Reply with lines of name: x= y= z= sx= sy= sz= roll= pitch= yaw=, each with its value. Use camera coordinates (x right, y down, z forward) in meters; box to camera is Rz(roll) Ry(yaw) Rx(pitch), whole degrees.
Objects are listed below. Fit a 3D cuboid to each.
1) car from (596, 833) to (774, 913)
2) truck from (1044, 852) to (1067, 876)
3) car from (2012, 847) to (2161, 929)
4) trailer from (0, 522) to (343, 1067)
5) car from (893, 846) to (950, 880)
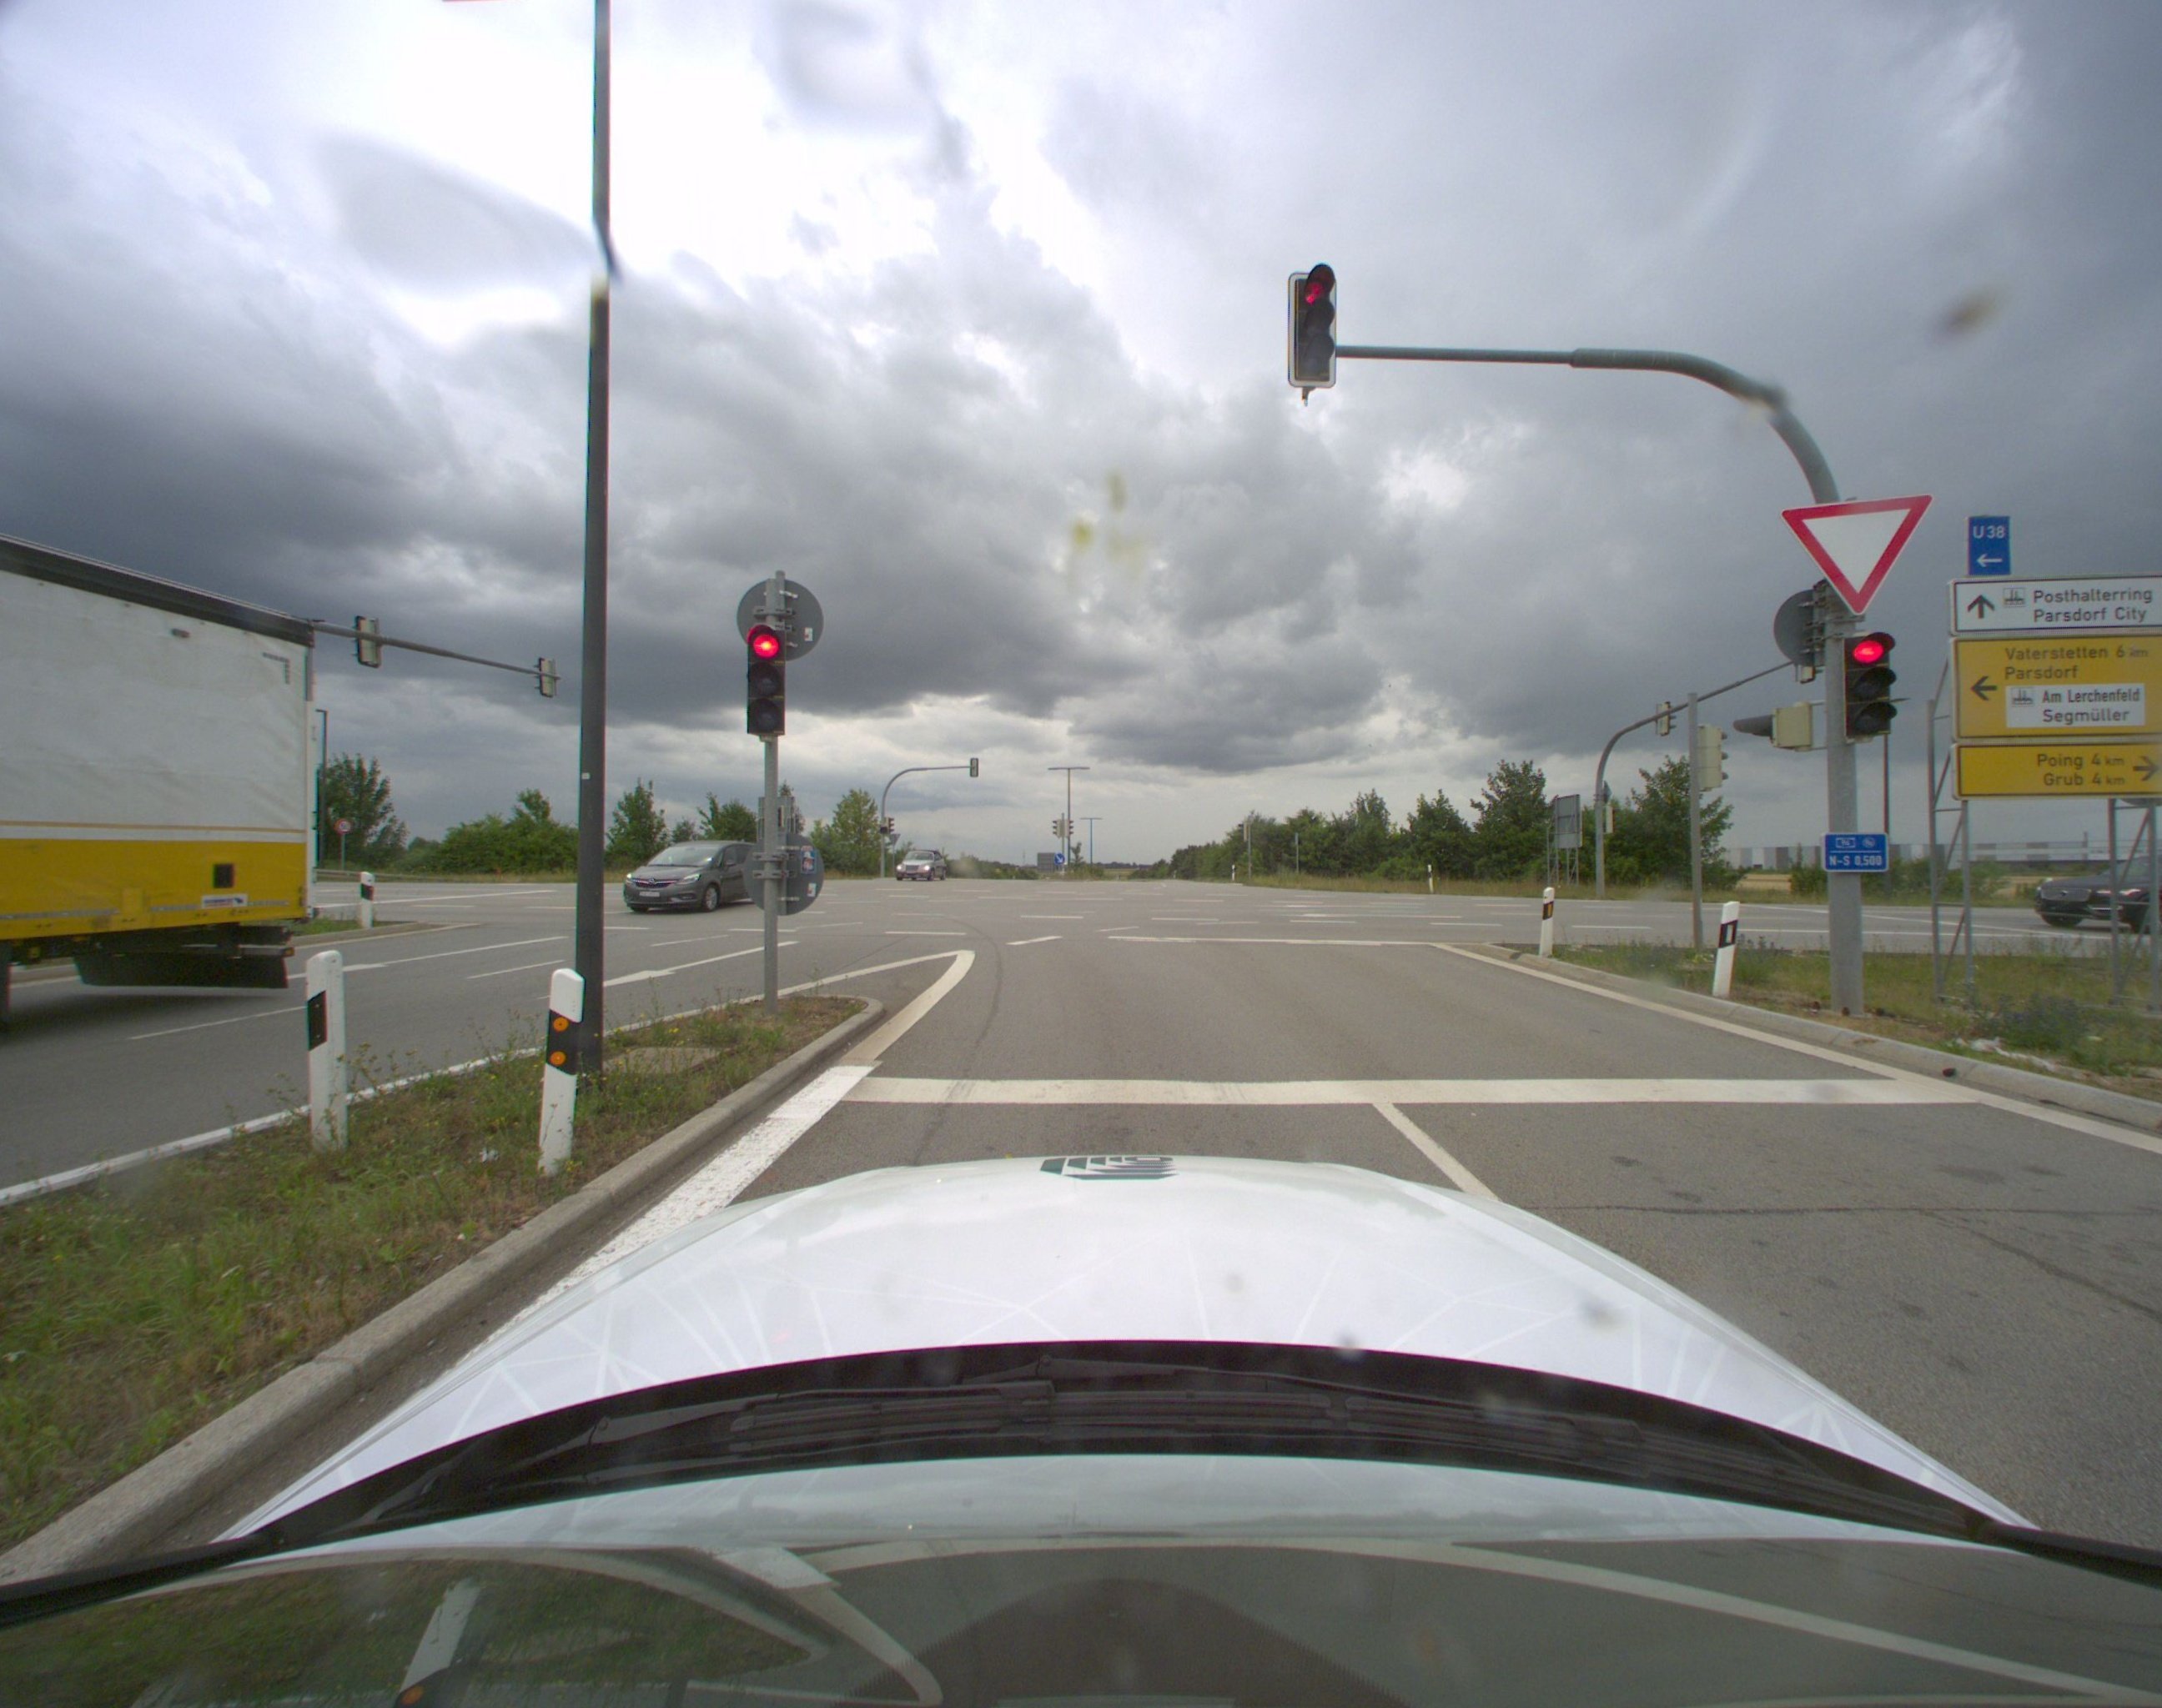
car: x=-9.300 y=0.423 z=19.604 sx=1.986 sy=1.694 sz=4.457 roll=0 pitch=-1 yaw=2
truck: x=-3.851 y=1.605 z=123.287 sx=2.858 sy=3.408 sz=8.653 roll=0 pitch=-2 yaw=2
car: x=24.076 y=0.725 z=17.668 sx=4.951 sy=1.684 sz=2.006 roll=0 pitch=0 yaw=10
trailer: x=-9.925 y=-0.485 z=2.160 sx=2.680 sy=4.210 sz=13.852 roll=0 pitch=-1 yaw=3
car: x=-7.763 y=0.401 z=39.965 sx=1.803 sy=1.520 sz=4.244 roll=0 pitch=1 yaw=2
